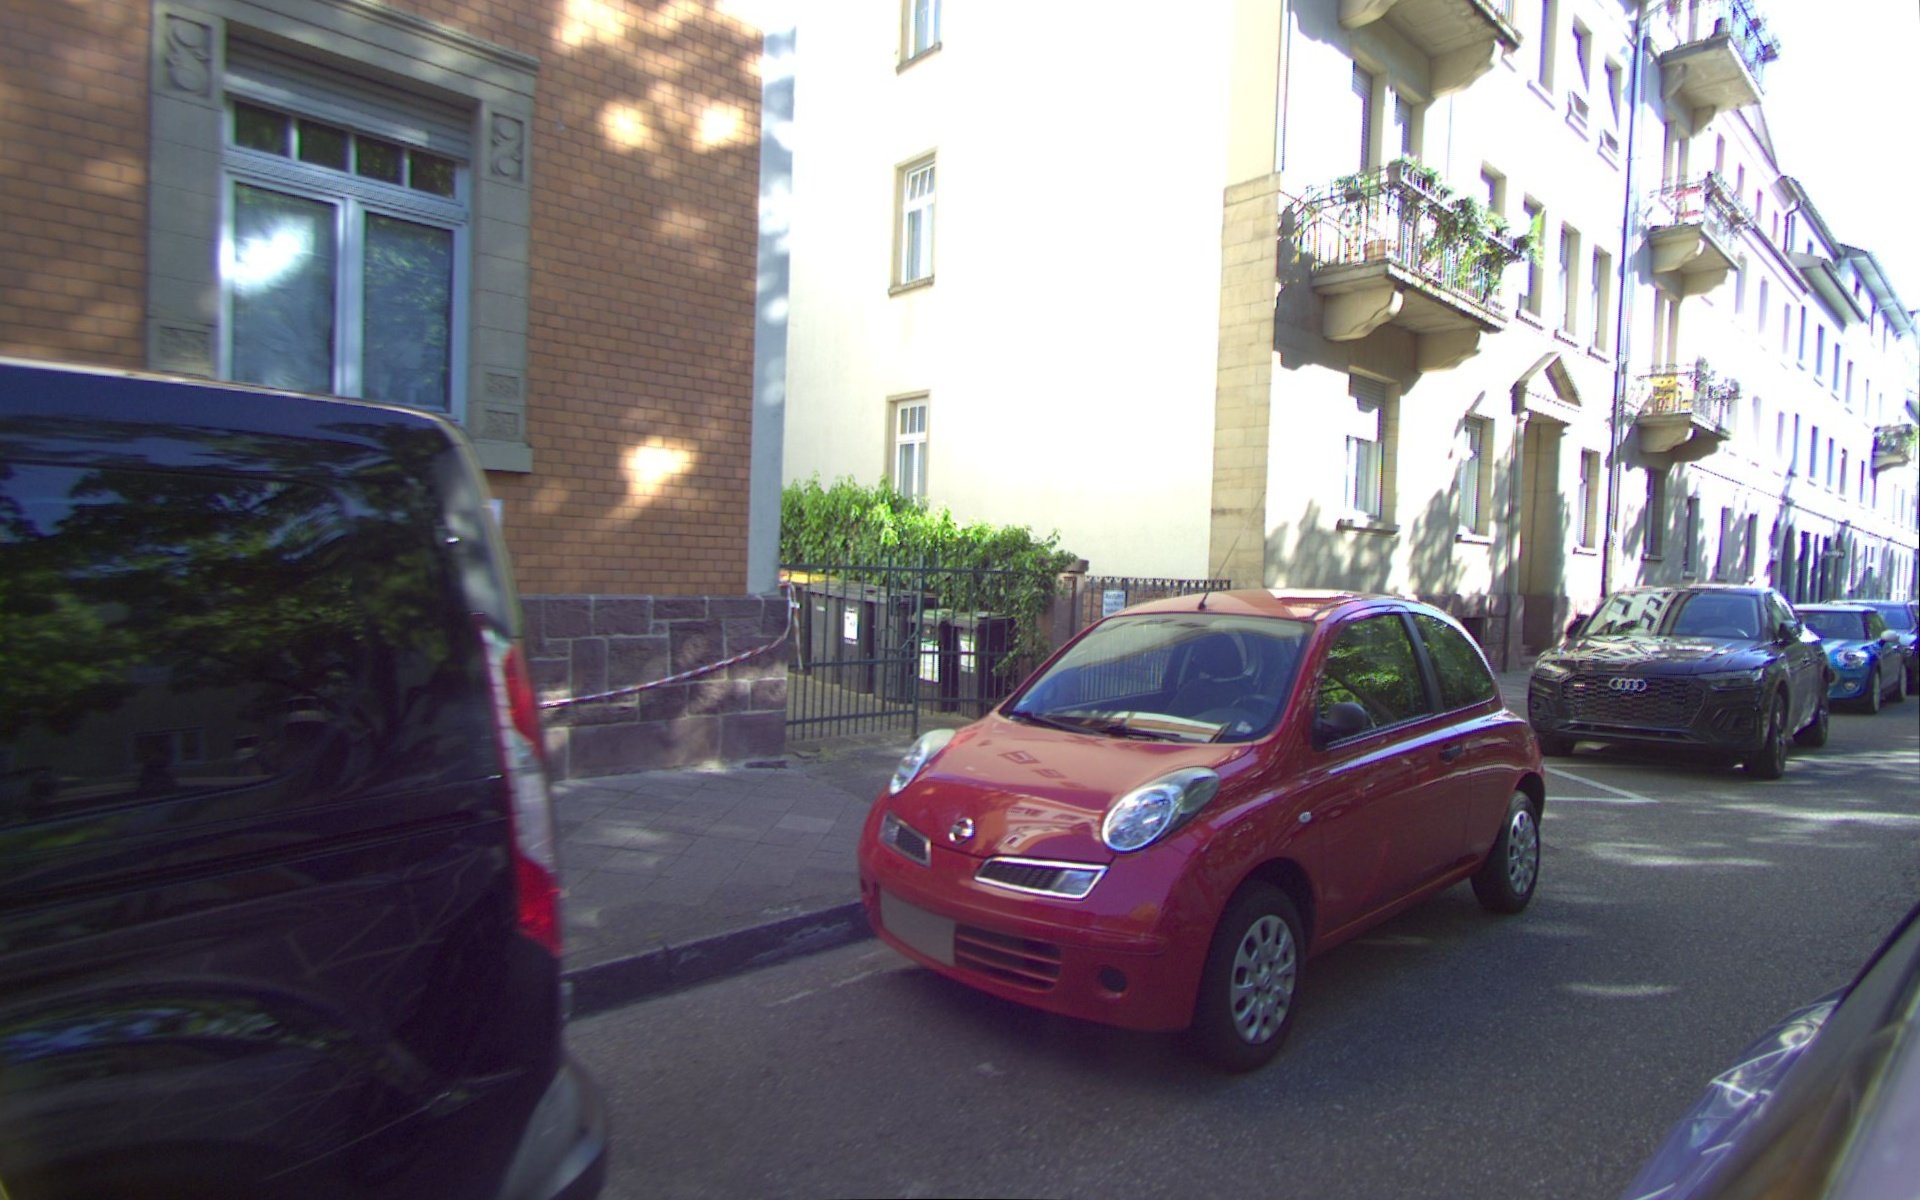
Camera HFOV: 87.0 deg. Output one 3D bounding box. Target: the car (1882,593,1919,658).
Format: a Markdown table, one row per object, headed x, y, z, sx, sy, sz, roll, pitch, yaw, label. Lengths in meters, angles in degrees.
| x | y | z | sx | sy | sz | roll | pitch | yaw | label |
| --- | --- | --- | --- | --- | --- | --- | --- | --- | --- |
| 23.618 | 0.586 | 24.350 | 3.935 | 1.486 | 1.695 | 0 | 1 | -42 | car |

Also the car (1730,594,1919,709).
| x | y | z | sx | sy | sz | roll | pitch | yaw | label |
| --- | --- | --- | --- | --- | --- | --- | --- | --- | --- |
| 12.486 | 0.641 | 14.506 | 3.568 | 1.433 | 1.593 | 0 | 1 | -41 | car |

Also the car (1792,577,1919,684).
| x | y | z | sx | sy | sz | roll | pitch | yaw | label |
| --- | --- | --- | --- | --- | --- | --- | --- | --- | --- |
| 16.083 | 0.467 | 17.674 | 4.247 | 1.582 | 1.808 | 0 | 3 | -43 | car |

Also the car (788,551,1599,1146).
| x | y | z | sx | sy | sz | roll | pitch | yaw | label |
| --- | --- | --- | --- | --- | --- | --- | --- | --- | --- |
| 1.336 | 0.645 | 4.594 | 3.931 | 1.557 | 1.647 | 0 | 0 | -42 | car |

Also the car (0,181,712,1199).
| x | y | z | sx | sy | sz | roll | pitch | yaw | label |
| --- | --- | --- | --- | --- | --- | --- | --- | --- | --- |
| -2.578 | 0.480 | 1.006 | 4.199 | 1.894 | 1.804 | 0 | -1 | -42 | car |

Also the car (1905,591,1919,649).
| x | y | z | sx | sy | sz | roll | pitch | yaw | label |
| --- | --- | --- | --- | --- | --- | --- | --- | --- | --- |
| 27.820 | 0.540 | 28.267 | 4.112 | 1.571 | 1.769 | 0 | 1 | -42 | car |

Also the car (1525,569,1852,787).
| x | y | z | sx | sy | sz | roll | pitch | yaw | label |
| --- | --- | --- | --- | --- | --- | --- | --- | --- | --- |
| 7.304 | 0.572 | 9.951 | 4.417 | 1.664 | 1.865 | 0 | 1 | -44 | car |
